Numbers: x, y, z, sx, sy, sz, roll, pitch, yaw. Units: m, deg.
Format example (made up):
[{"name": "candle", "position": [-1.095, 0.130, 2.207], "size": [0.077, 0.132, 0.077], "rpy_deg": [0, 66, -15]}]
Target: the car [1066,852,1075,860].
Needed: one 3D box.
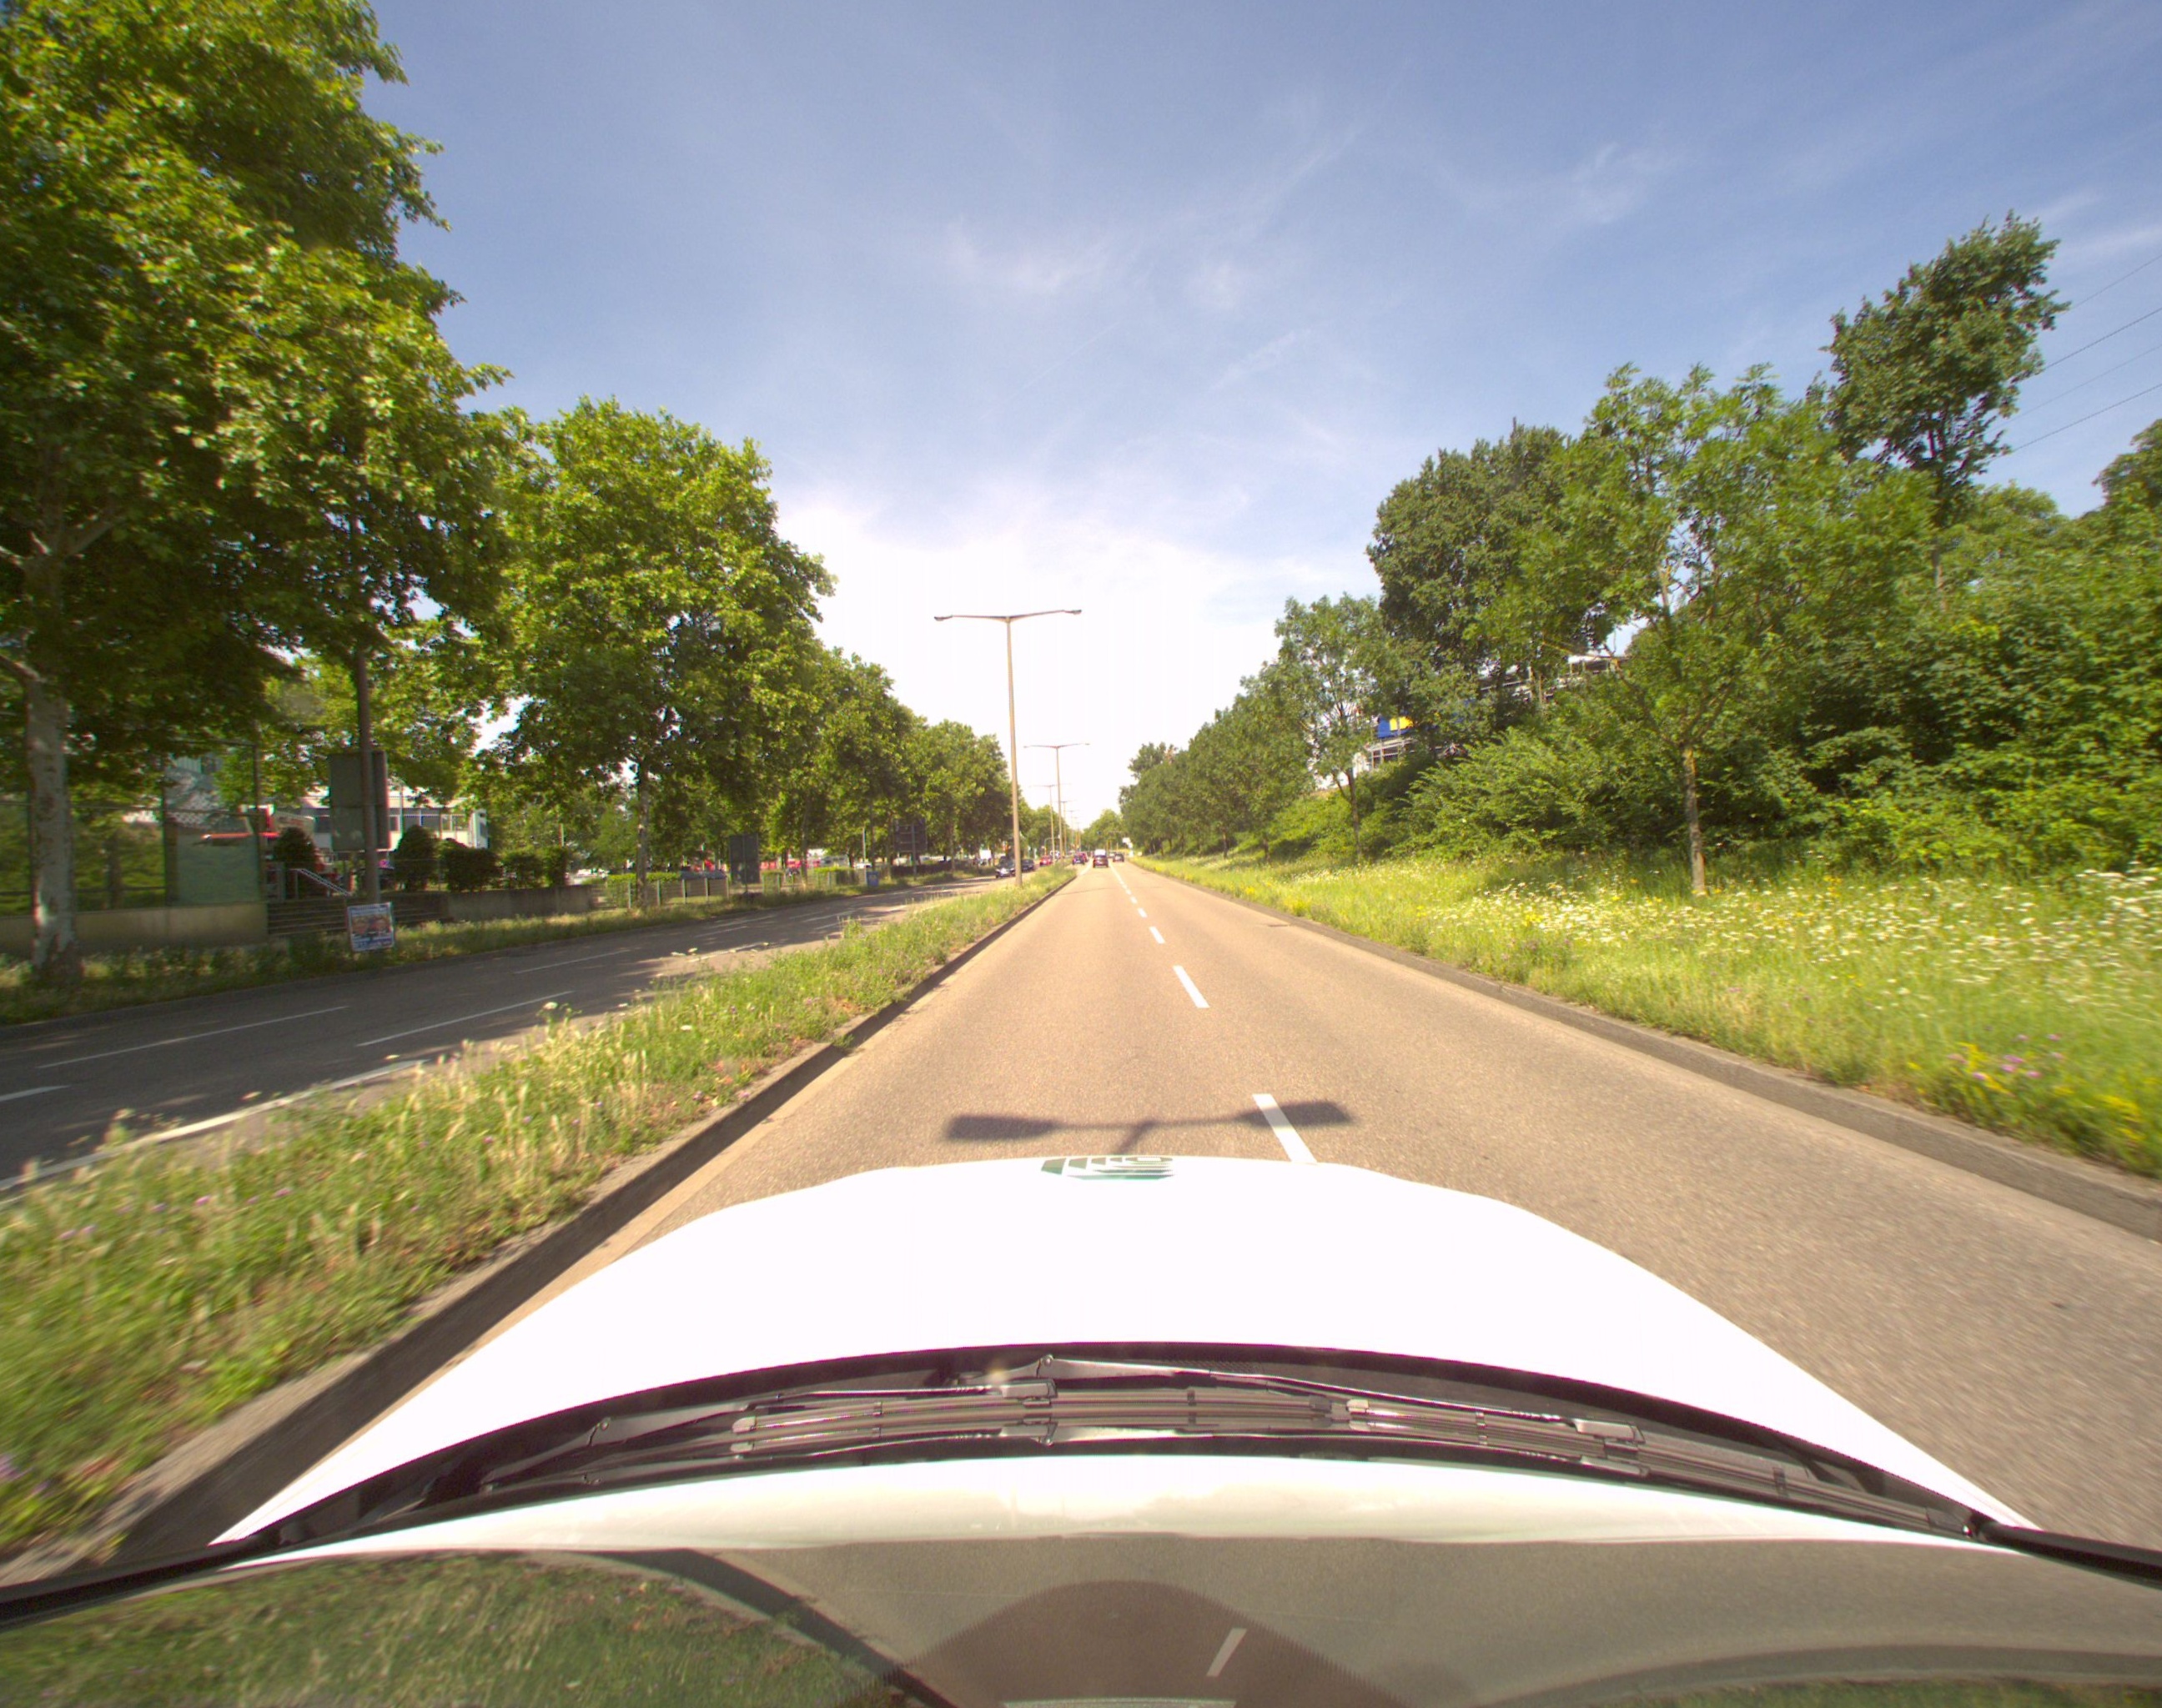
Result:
[{"name": "car", "position": [-2.628, 0.522, 211.291], "size": [1.985, 1.775, 4.004], "rpy_deg": [-3, 0, 4]}]

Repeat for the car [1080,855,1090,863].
[{"name": "car", "position": [0.742, 0.891, 144.369], "size": [1.760, 1.479, 4.136], "rpy_deg": [-1, 0, 1]}]

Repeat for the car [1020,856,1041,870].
[{"name": "car", "position": [-5.544, 0.972, 89.603], "size": [1.766, 1.467, 4.673], "rpy_deg": [-3, 0, 2]}]

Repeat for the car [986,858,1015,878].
[{"name": "car", "position": [-6.561, 1.112, 66.999], "size": [1.821, 1.467, 4.987], "rpy_deg": [-3, 0, 0]}]

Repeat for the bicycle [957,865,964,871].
[{"name": "bicycle", "position": [-17.366, 1.976, 117.157], "size": [0.687, 0.866, 1.927], "rpy_deg": [-3, 0, 2]}]

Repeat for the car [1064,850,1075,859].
[{"name": "car", "position": [-2.291, 0.188, 166.414], "size": [1.986, 1.708, 4.264], "rpy_deg": [-3, 0, 1]}]

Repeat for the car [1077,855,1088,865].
[{"name": "car", "position": [0.315, 1.019, 135.389], "size": [1.776, 1.593, 4.594], "rpy_deg": [-1, 0, 1]}]

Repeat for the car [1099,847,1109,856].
[{"name": "car", "position": [5.451, -0.503, 195.871], "size": [1.989, 2.013, 3.996], "rpy_deg": [-2, 0, -2]}]

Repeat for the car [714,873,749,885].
[{"name": "car", "position": [-46.321, 3.296, 107.833], "size": [3.955, 1.504, 1.814], "rpy_deg": [-1, 2, 17]}]

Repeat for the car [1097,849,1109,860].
[{"name": "car", "position": [3.970, 0.087, 145.473], "size": [1.986, 1.708, 4.265], "rpy_deg": [-3, 0, 2]}]

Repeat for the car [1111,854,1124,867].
[{"name": "car", "position": [5.953, 0.997, 132.356], "size": [2.010, 1.837, 4.002], "rpy_deg": [-2, 2, 2]}]

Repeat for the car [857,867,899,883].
[{"name": "car", "position": [-22.052, 2.254, 88.603], "size": [3.972, 1.464, 1.773], "rpy_deg": [-3, 0, 2]}]

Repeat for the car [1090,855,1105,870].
[{"name": "car", "position": [1.980, 0.986, 97.612], "size": [1.730, 1.535, 4.002], "rpy_deg": [-2, 2, 2]}]

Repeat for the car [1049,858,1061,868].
[{"name": "car", "position": [-4.285, 1.504, 135.093], "size": [1.833, 1.478, 4.167], "rpy_deg": [-3, 0, 1]}]

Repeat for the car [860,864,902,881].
[{"name": "car", "position": [-22.520, 2.087, 91.822], "size": [3.968, 1.823, 2.159], "rpy_deg": [-2, -1, 5]}]

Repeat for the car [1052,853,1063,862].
[{"name": "car", "position": [-5.350, 0.756, 183.790], "size": [2.110, 1.883, 5.419], "rpy_deg": [-3, 0, 0]}]

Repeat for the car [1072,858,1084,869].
[{"name": "car", "position": [-0.414, 1.286, 115.231], "size": [1.620, 1.483, 4.049], "rpy_deg": [-1, 0, 1]}]

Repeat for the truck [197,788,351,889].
[{"name": "truck", "position": [-31.182, -0.458, 31.877], "size": [2.685, 3.395, 8.892], "rpy_deg": [-2, 0, -35]}]

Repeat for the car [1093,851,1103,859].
[{"name": "car", "position": [3.615, 0.258, 172.811], "size": [1.927, 1.647, 4.001], "rpy_deg": [-2, 0, 2]}]

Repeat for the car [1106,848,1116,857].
[{"name": "car", "position": [6.195, -0.295, 169.785], "size": [1.986, 1.708, 4.264], "rpy_deg": [-3, 0, 1]}]

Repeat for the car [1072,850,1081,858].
[{"name": "car", "position": [-1.163, -0.055, 204.829], "size": [1.985, 1.860, 4.003], "rpy_deg": [-3, 0, 3]}]

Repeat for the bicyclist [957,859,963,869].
[{"name": "bicyclist", "position": [-17.392, 1.439, 117.134], "size": [0.679, 1.485, 0.942], "rpy_deg": [-3, 0, 1]}]

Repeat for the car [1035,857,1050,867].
[{"name": "car", "position": [-5.754, 1.167, 122.231], "size": [1.756, 1.462, 4.002], "rpy_deg": [-4, 0, 2]}]

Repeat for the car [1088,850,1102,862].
[{"name": "car", "position": [2.158, 0.237, 124.189], "size": [1.986, 1.684, 4.001], "rpy_deg": [-2, 0, 1]}]
